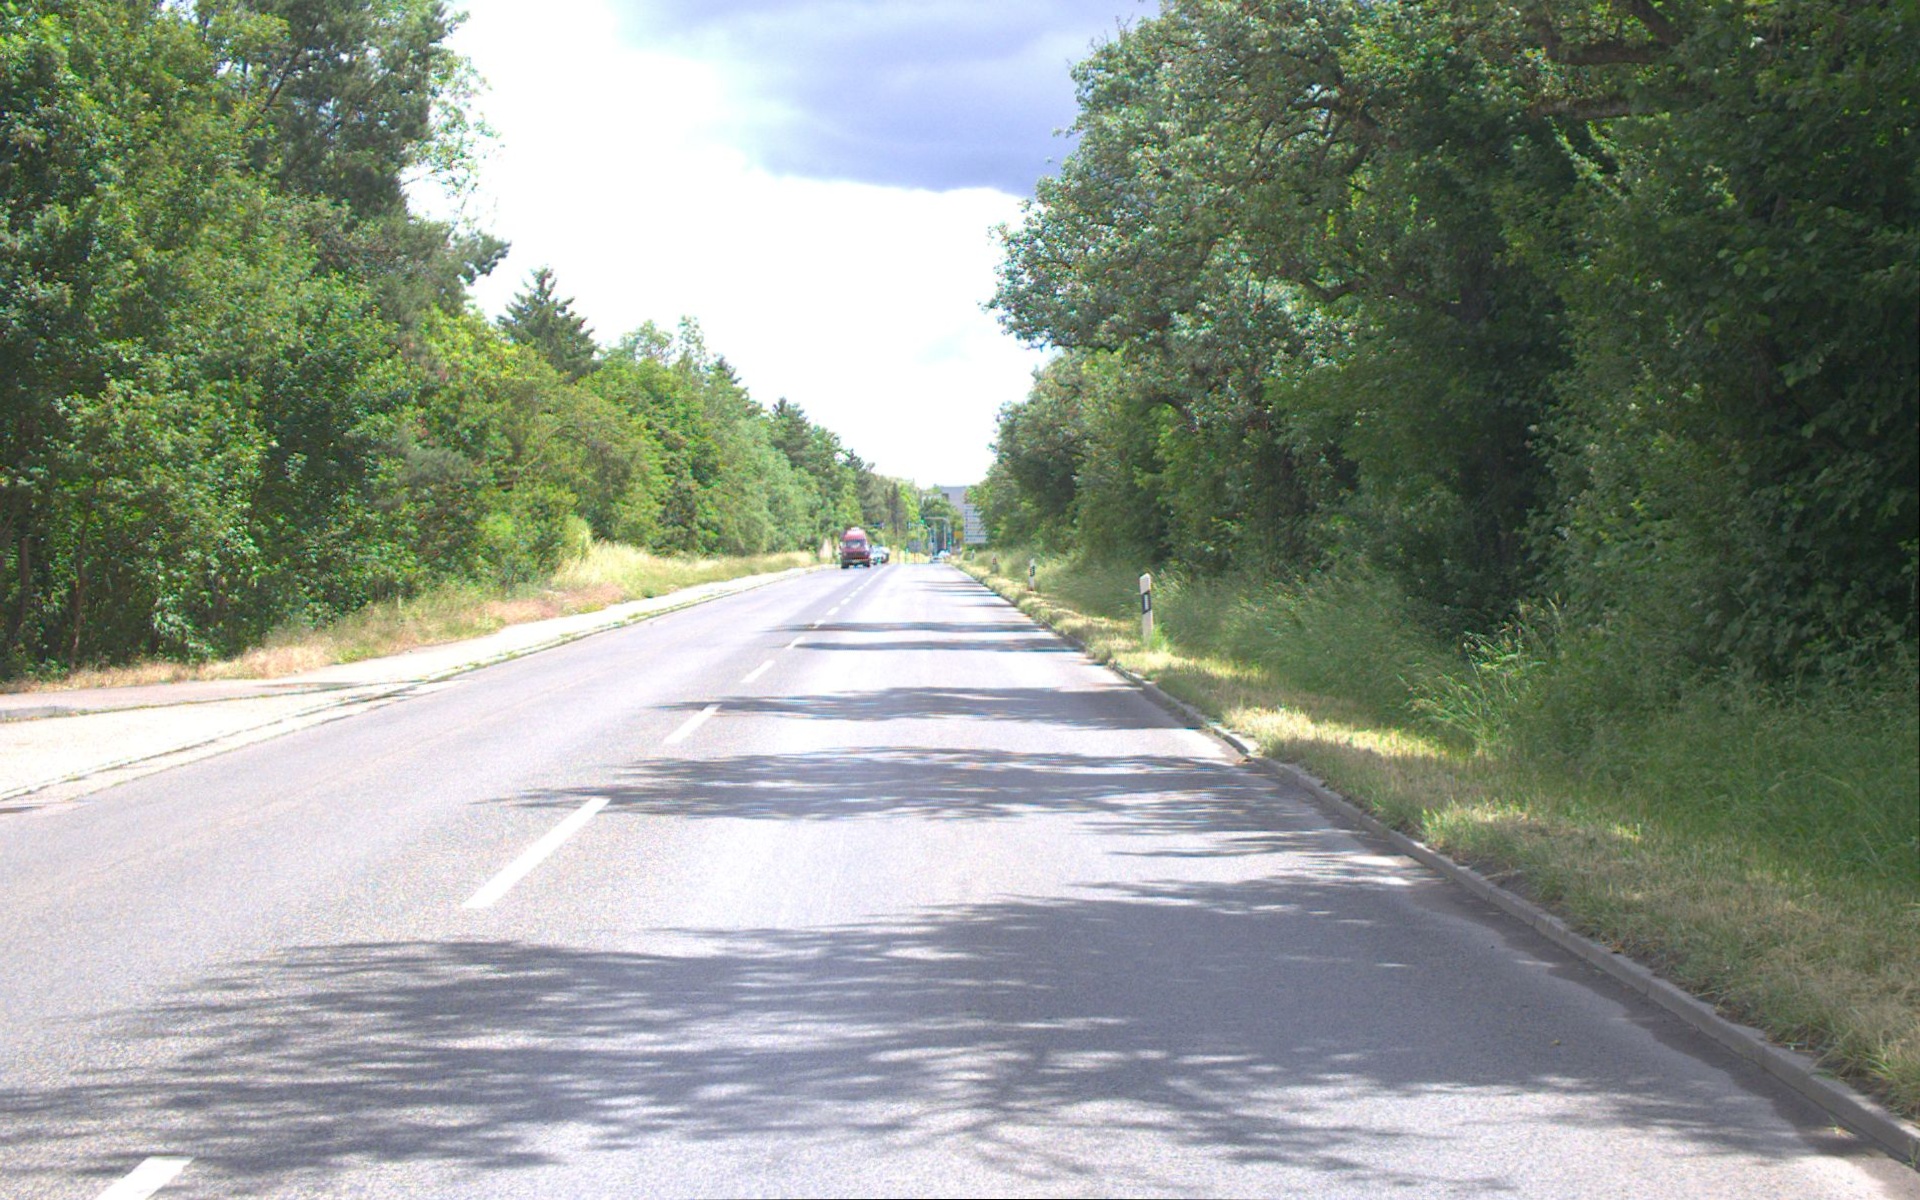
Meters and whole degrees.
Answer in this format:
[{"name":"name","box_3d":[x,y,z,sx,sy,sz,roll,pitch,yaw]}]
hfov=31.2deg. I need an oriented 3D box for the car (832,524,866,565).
[{"name":"car","box_3d":[-7.190,-3.562,222.661,1.969,2.541,4.725,-3,1,-1]}]
